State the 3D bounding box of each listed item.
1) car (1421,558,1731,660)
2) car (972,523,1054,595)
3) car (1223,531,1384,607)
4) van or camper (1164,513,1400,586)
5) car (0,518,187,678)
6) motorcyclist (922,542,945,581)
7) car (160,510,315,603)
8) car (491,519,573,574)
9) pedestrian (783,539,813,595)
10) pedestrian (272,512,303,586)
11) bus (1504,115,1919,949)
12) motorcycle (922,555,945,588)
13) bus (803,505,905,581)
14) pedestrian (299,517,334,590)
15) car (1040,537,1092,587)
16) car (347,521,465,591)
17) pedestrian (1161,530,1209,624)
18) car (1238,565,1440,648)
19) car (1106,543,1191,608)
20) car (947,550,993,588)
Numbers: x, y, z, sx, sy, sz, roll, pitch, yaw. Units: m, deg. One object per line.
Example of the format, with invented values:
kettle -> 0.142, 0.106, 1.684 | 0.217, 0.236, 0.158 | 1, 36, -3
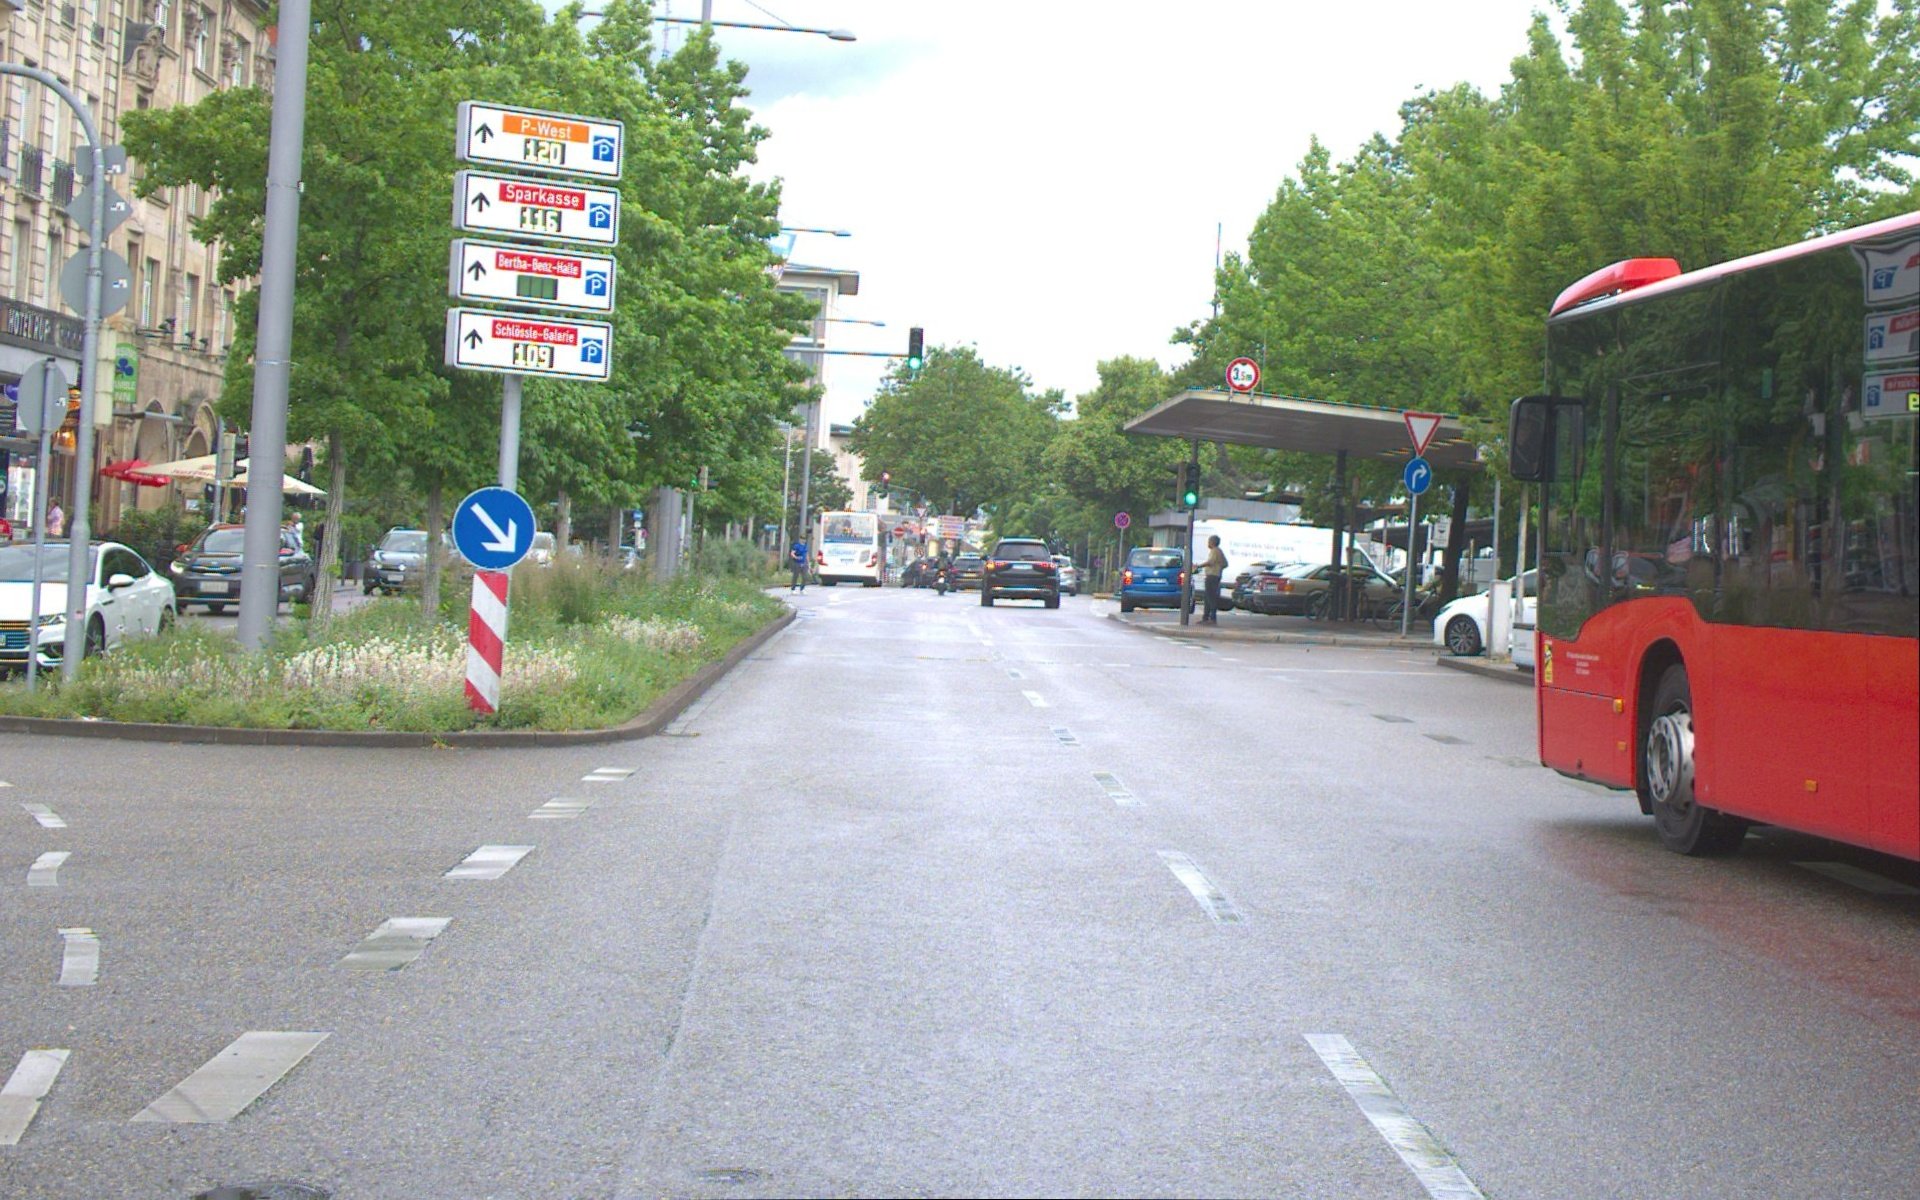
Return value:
car -> 9.105, 0.112, 51.058 | 1.774, 1.380, 4.366 | 0, 1, -41
car -> 1.355, -1.098, 90.422 | 1.993, 1.800, 4.690 | 1, 1, -1
car -> 9.653, -0.879, 96.640 | 3.986, 2.007, 2.001 | 1, 1, -20
van or camper -> 9.652, -1.493, 102.847 | 6.753, 2.007, 2.385 | 1, 0, -26
car -> -9.623, -0.075, 36.310 | 1.724, 1.376, 4.860 | 1, 4, 1
motorcyclist -> -0.922, -1.342, 118.901 | 0.764, 1.327, 0.866 | 2, 1, 0
car -> -12.030, -0.735, 57.472 | 1.631, 1.471, 4.026 | 1, 1, 1
car -> -12.573, -1.582, 101.153 | 1.755, 1.364, 4.060 | 1, 4, 2
pedestrian -> -4.795, -0.974, 101.588 | 0.758, 1.633, 0.559 | 2, 1, 6
pedestrian -> -15.845, -1.207, 80.975 | 0.575, 1.726, 0.609 | 2, 1, -1
bus -> 4.897, -0.265, 14.432 | 2.742, 3.163, 10.197 | 1, 1, -5
motorcycle -> -0.917, -0.990, 118.830 | 0.766, 1.073, 2.175 | 2, 1, 0
bus -> -4.661, -2.556, 154.484 | 3.760, 3.198, 15.526 | 1, 1, 1
pedestrian -> -15.170, -1.089, 81.040 | 0.674, 1.696, 0.634 | 2, 1, -1
car -> 4.061, -1.480, 132.662 | 1.788, 1.853, 4.000 | 1, 1, -1
car -> -12.002, -0.961, 74.729 | 1.755, 1.436, 4.060 | 1, 1, 2
pedestrian -> 4.357, -0.452, 66.554 | 0.717, 1.785, 0.666 | 1, 1, -12
car -> 9.061, 0.157, 82.271 | 4.335, 1.851, 2.001 | 1, 1, -20
car -> 4.658, -0.620, 85.390 | 1.816, 1.525, 4.000 | 1, 1, -1
car -> 0.392, -1.234, 135.399 | 1.708, 1.443, 4.000 | 1, 1, -1
